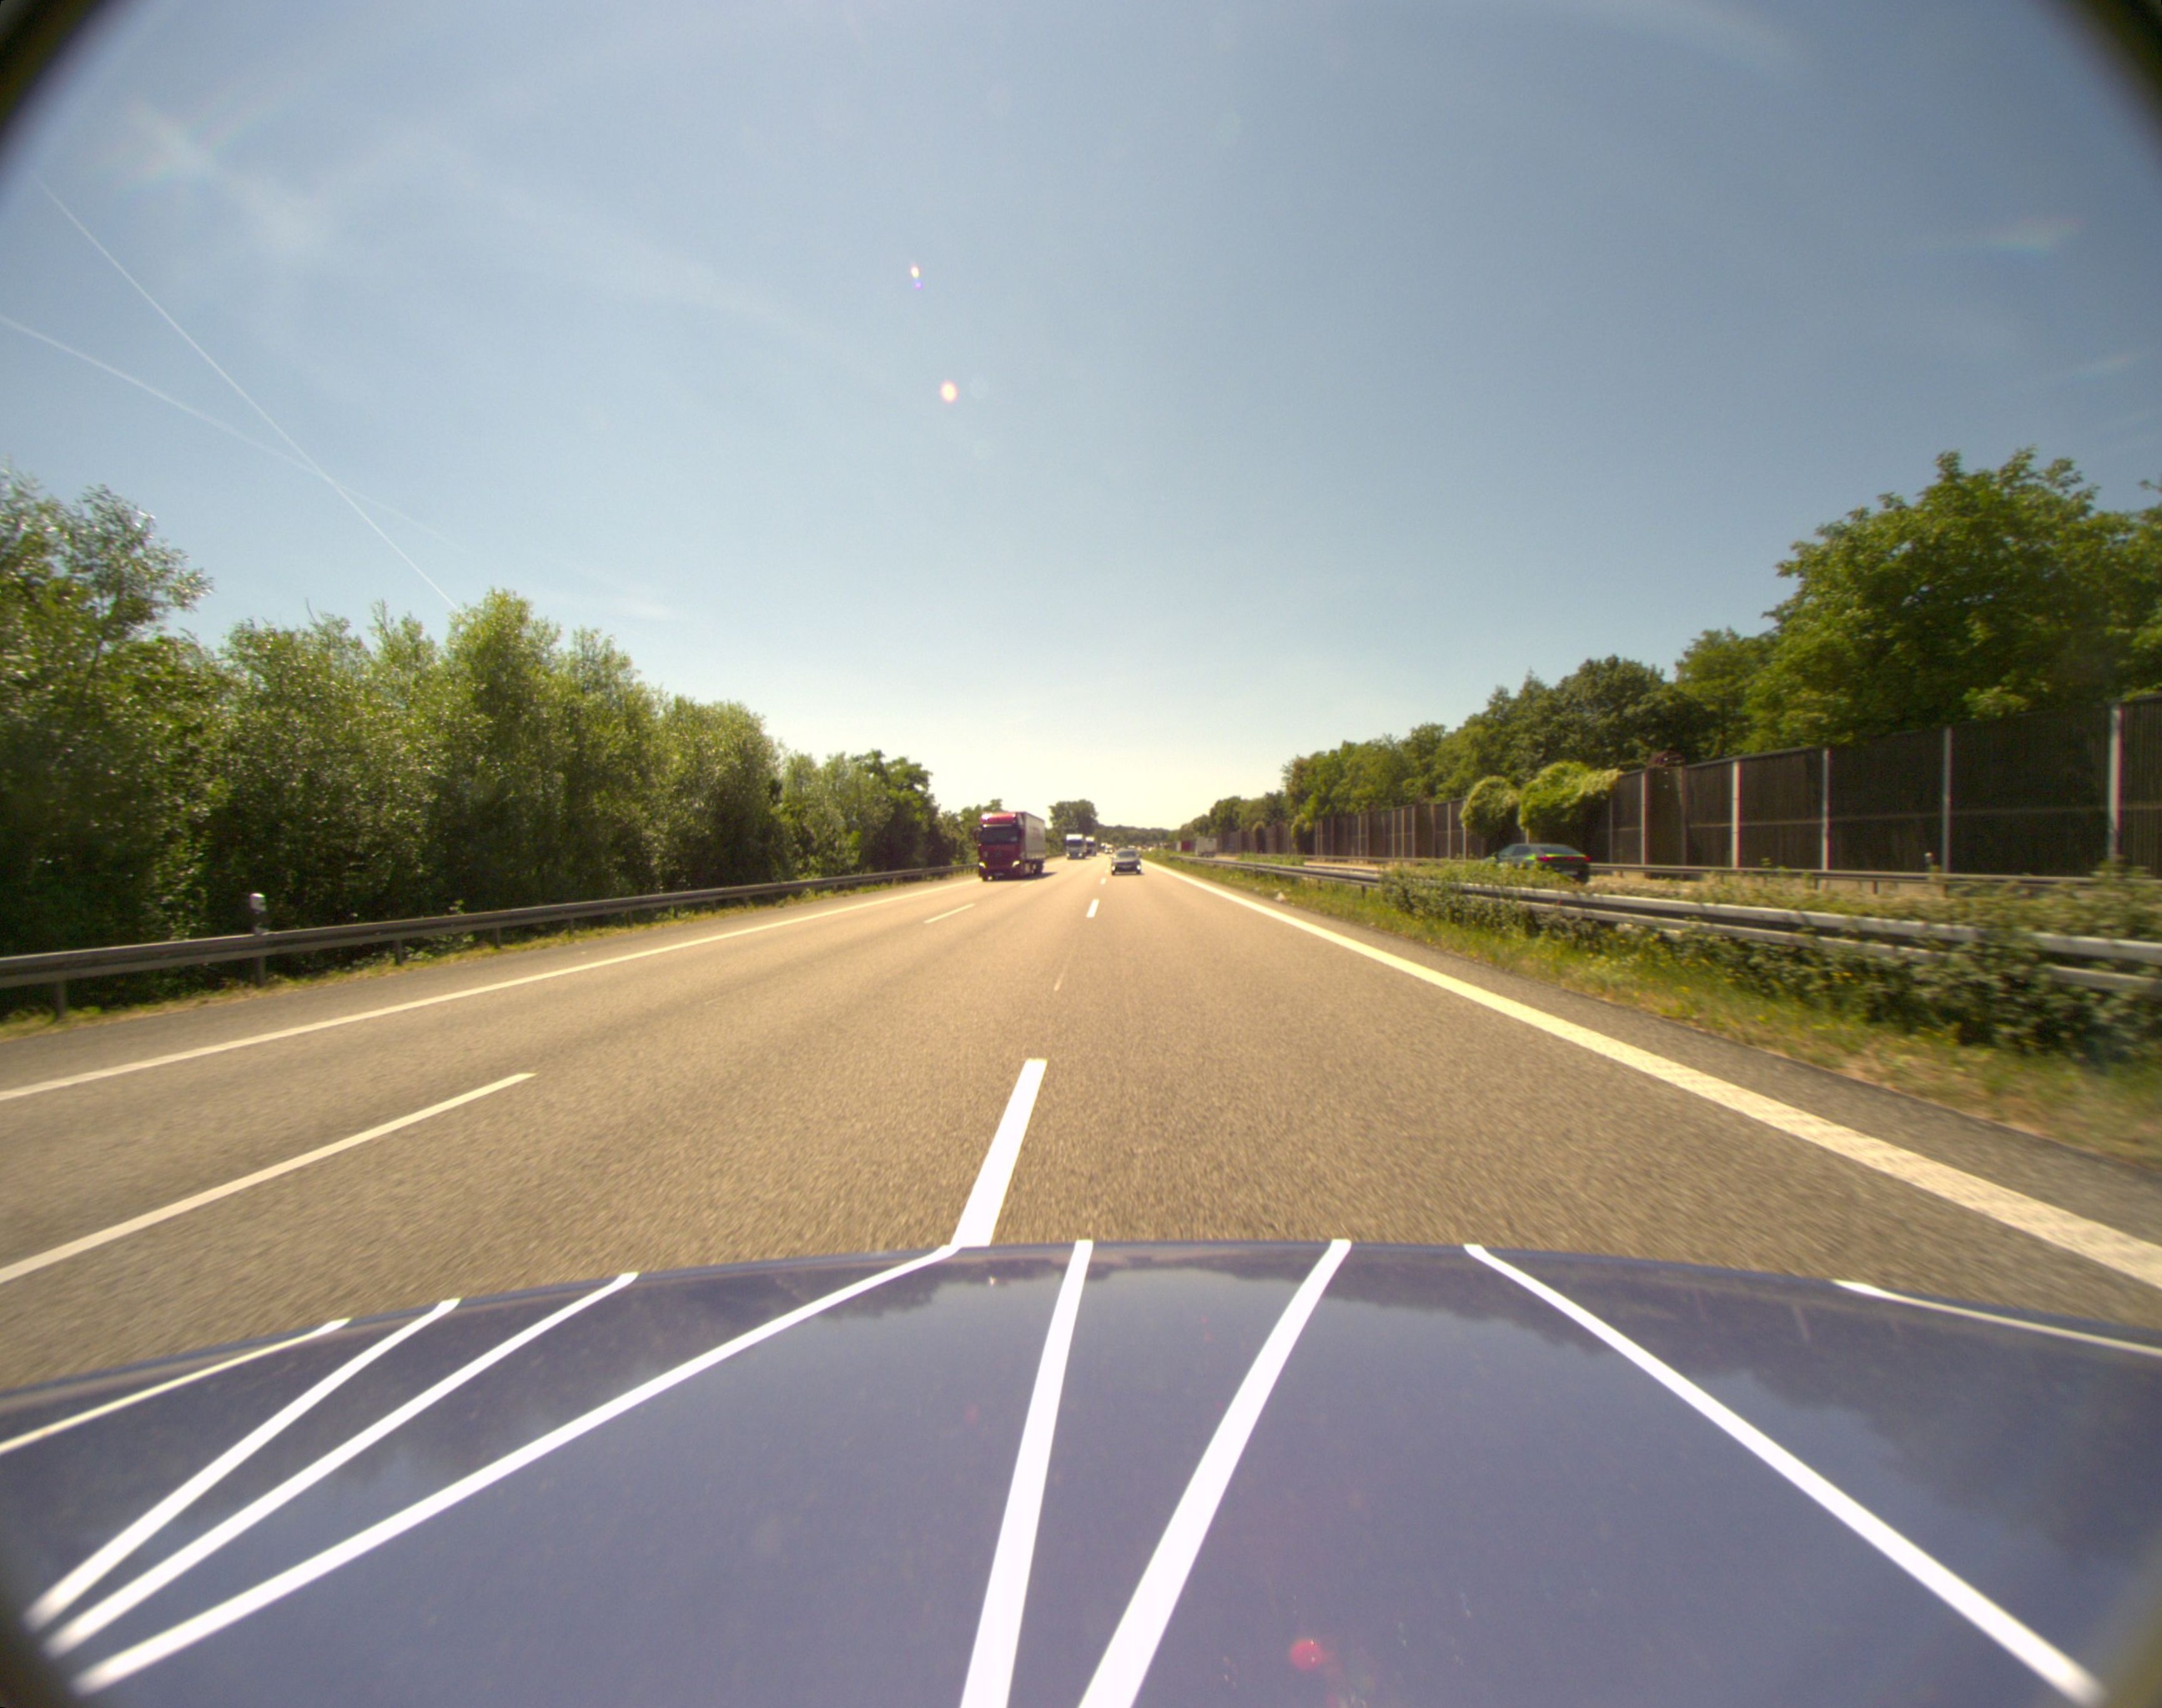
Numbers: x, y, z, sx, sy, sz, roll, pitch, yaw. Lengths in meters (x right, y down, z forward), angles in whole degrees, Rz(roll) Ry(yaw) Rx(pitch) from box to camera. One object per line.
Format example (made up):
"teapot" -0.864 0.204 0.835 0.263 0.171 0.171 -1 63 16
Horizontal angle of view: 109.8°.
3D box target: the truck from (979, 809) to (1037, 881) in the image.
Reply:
"truck" -4.353 -0.554 46.560 2.714 4.065 6.964 0 1 1

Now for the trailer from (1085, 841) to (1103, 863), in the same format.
"trailer" 2.982 -0.483 168.287 2.540 4.446 14.167 0 1 7

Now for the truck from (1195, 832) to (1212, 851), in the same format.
"truck" 26.643 -2.725 165.165 2.840 4.159 7.142 0 1 2

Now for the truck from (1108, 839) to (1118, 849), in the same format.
"truck" 9.504 -2.921 224.965 2.714 2.712 12.370 0 1 4

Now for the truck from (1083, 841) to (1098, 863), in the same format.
"truck" 2.131 -0.421 160.911 2.540 4.446 5.575 0 1 7

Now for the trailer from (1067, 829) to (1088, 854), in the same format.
"trailer" -0.683 -2.065 128.672 2.967 4.082 12.527 0 0 -3

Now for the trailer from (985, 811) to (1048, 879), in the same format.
"trailer" -4.165 -0.614 52.538 2.714 4.065 14.151 0 1 2

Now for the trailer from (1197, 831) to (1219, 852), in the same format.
"trailer" 26.457 -2.638 159.129 2.917 4.159 13.311 0 1 2

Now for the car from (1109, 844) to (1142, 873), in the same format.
"car" 2.789 0.241 46.918 1.908 1.717 4.377 0 1 5

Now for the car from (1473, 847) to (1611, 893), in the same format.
"car" 15.830 0.487 26.468 1.964 1.424 4.880 -1 1 2

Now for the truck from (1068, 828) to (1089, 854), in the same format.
"truck" -0.424 -2.029 122.920 2.967 4.082 6.204 0 1 -3

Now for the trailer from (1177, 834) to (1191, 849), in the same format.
"trailer" 29.486 -3.580 218.261 2.741 3.999 14.305 -1 1 2
